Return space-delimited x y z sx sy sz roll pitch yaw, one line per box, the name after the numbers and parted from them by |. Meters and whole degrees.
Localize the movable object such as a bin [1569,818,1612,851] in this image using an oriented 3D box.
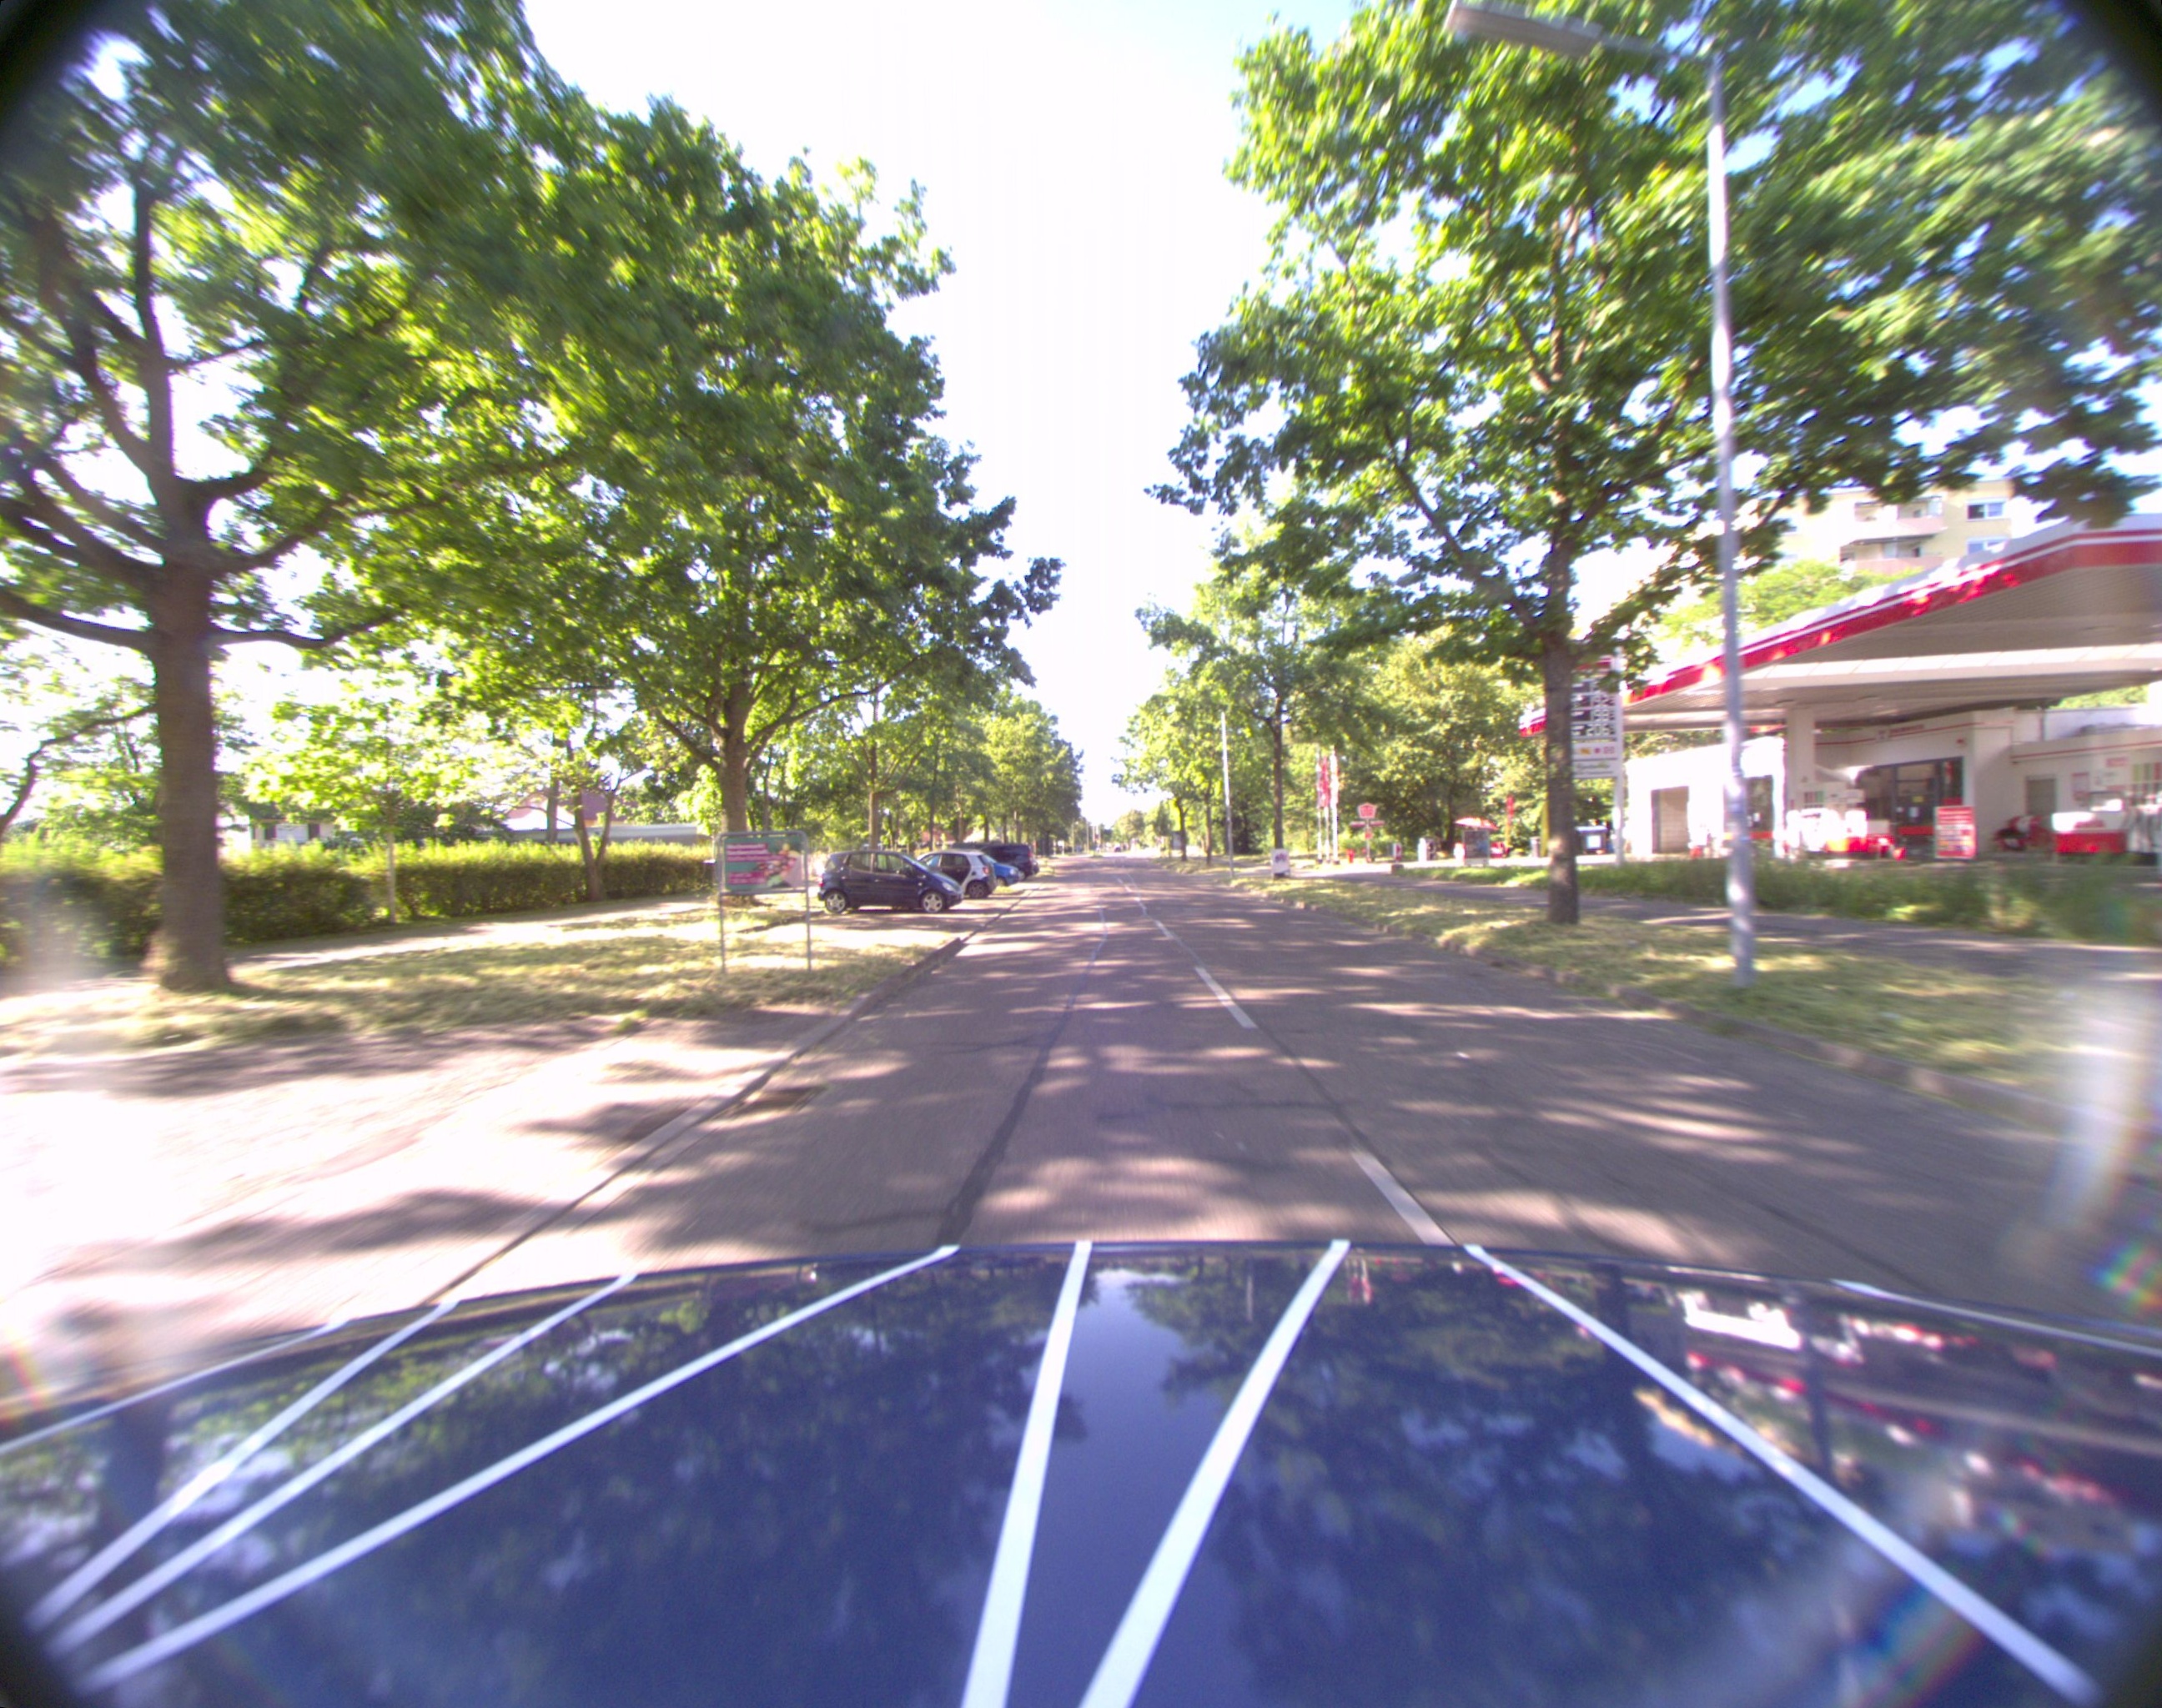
25.240 -0.942 37.663 1.307 1.533 1.163 -3 1 1 | movable object such as a bin

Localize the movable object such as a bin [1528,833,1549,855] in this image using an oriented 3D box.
22.783 -0.505 37.836 0.570 1.079 0.768 -2 1 1 | movable object such as a bin

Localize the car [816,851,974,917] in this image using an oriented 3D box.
-4.712 0.733 19.615 3.592 1.567 1.857 0 1 0 | car

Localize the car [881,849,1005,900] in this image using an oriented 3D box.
-4.387 0.634 24.544 3.592 1.567 1.786 0 1 2 | car

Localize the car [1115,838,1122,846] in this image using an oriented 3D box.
10.522 -3.380 213.411 1.904 2.083 3.641 0 1 1 | car

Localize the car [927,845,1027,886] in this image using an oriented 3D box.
-3.941 0.418 29.207 3.529 1.523 1.665 0 2 2 | car

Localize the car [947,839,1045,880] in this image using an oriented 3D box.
-4.341 0.254 39.380 4.815 2.020 1.943 -1 1 0 | car

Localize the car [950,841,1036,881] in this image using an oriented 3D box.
-4.224 0.315 36.975 4.019 1.826 1.798 0 2 -2 | car

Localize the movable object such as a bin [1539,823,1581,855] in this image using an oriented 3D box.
23.769 -0.749 37.744 1.307 1.533 1.267 -2 1 1 | movable object such as a bin
